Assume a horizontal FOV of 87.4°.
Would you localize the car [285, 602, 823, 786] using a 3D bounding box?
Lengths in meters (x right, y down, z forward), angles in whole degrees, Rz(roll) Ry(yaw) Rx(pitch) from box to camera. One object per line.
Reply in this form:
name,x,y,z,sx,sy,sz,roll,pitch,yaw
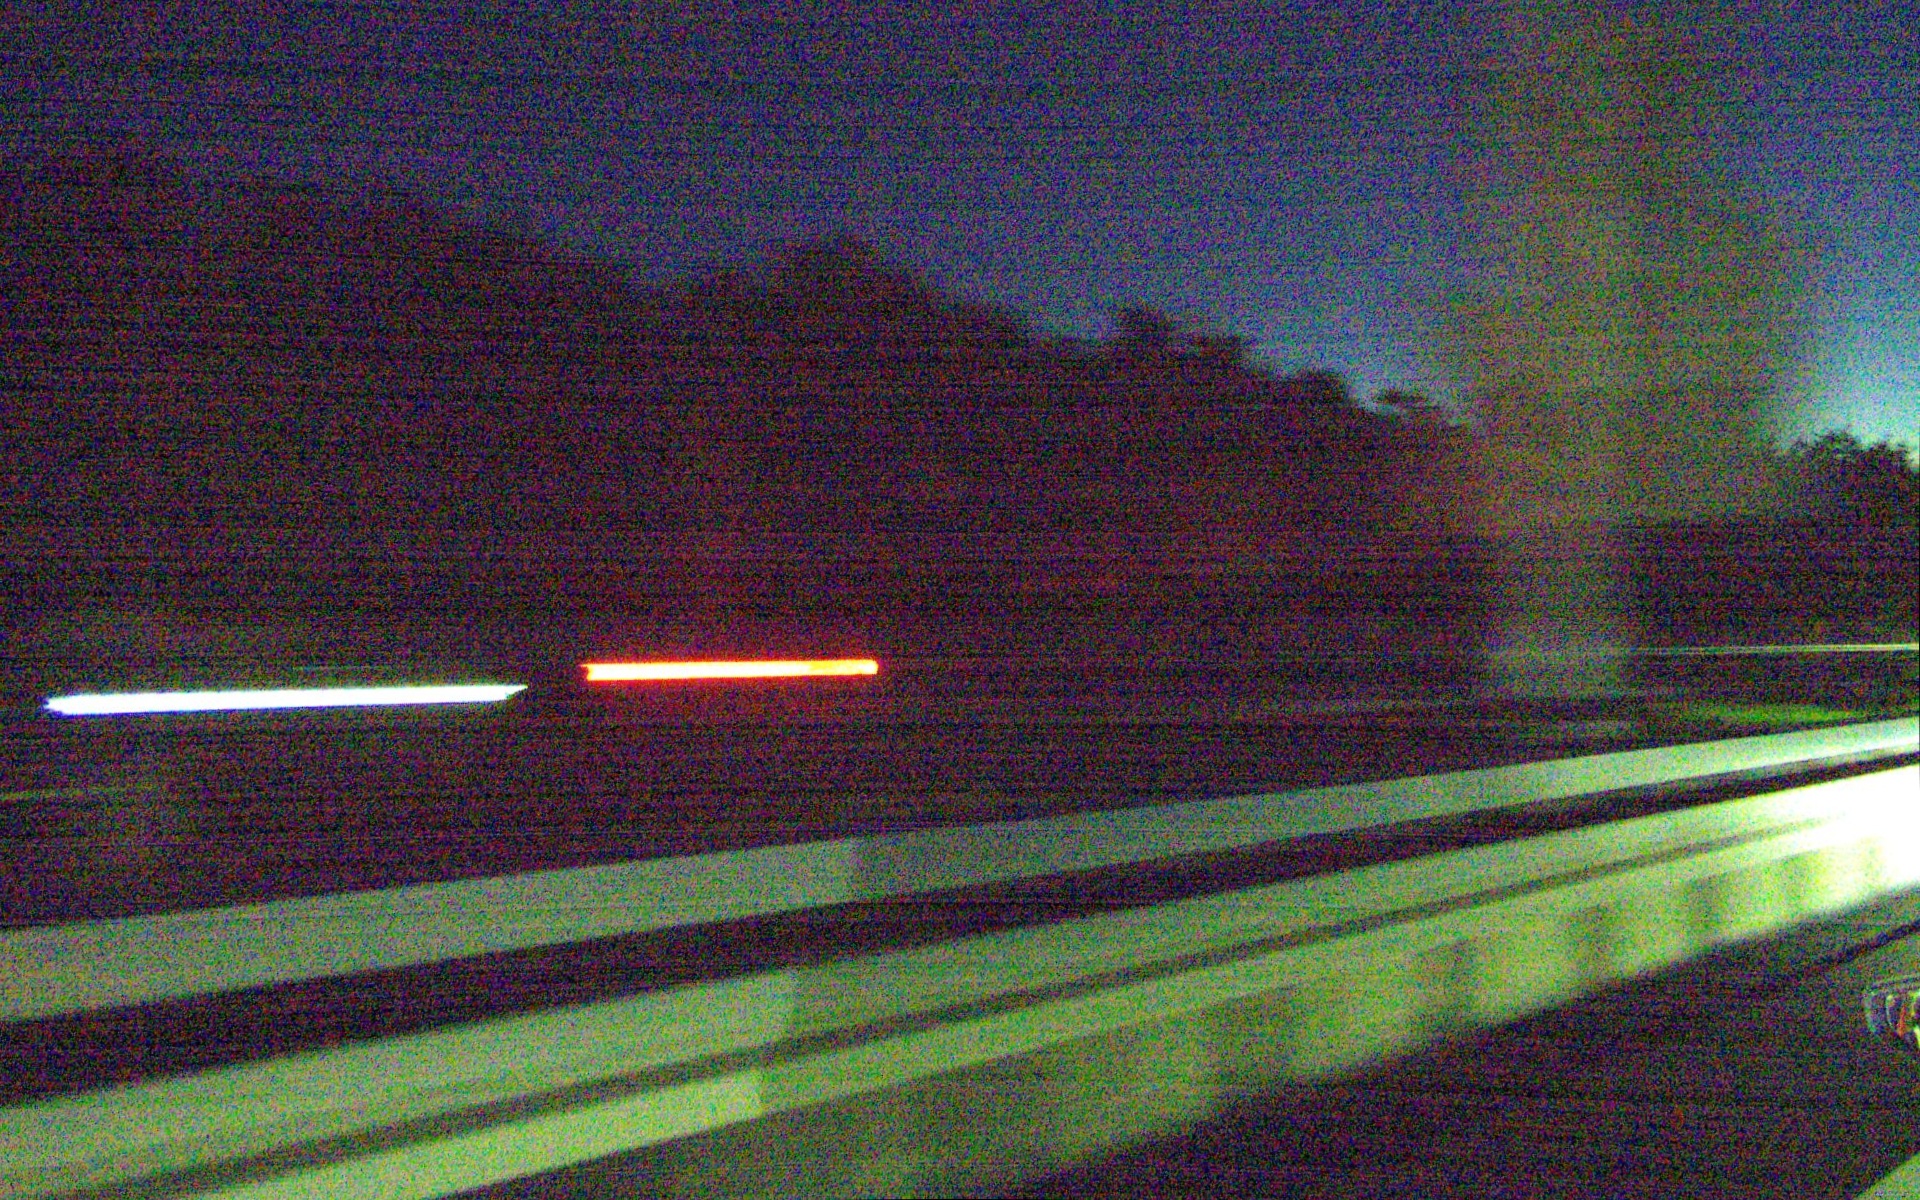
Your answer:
car,-4.139,0.920,10.748,4.946,1.571,1.984,1,-4,-31
